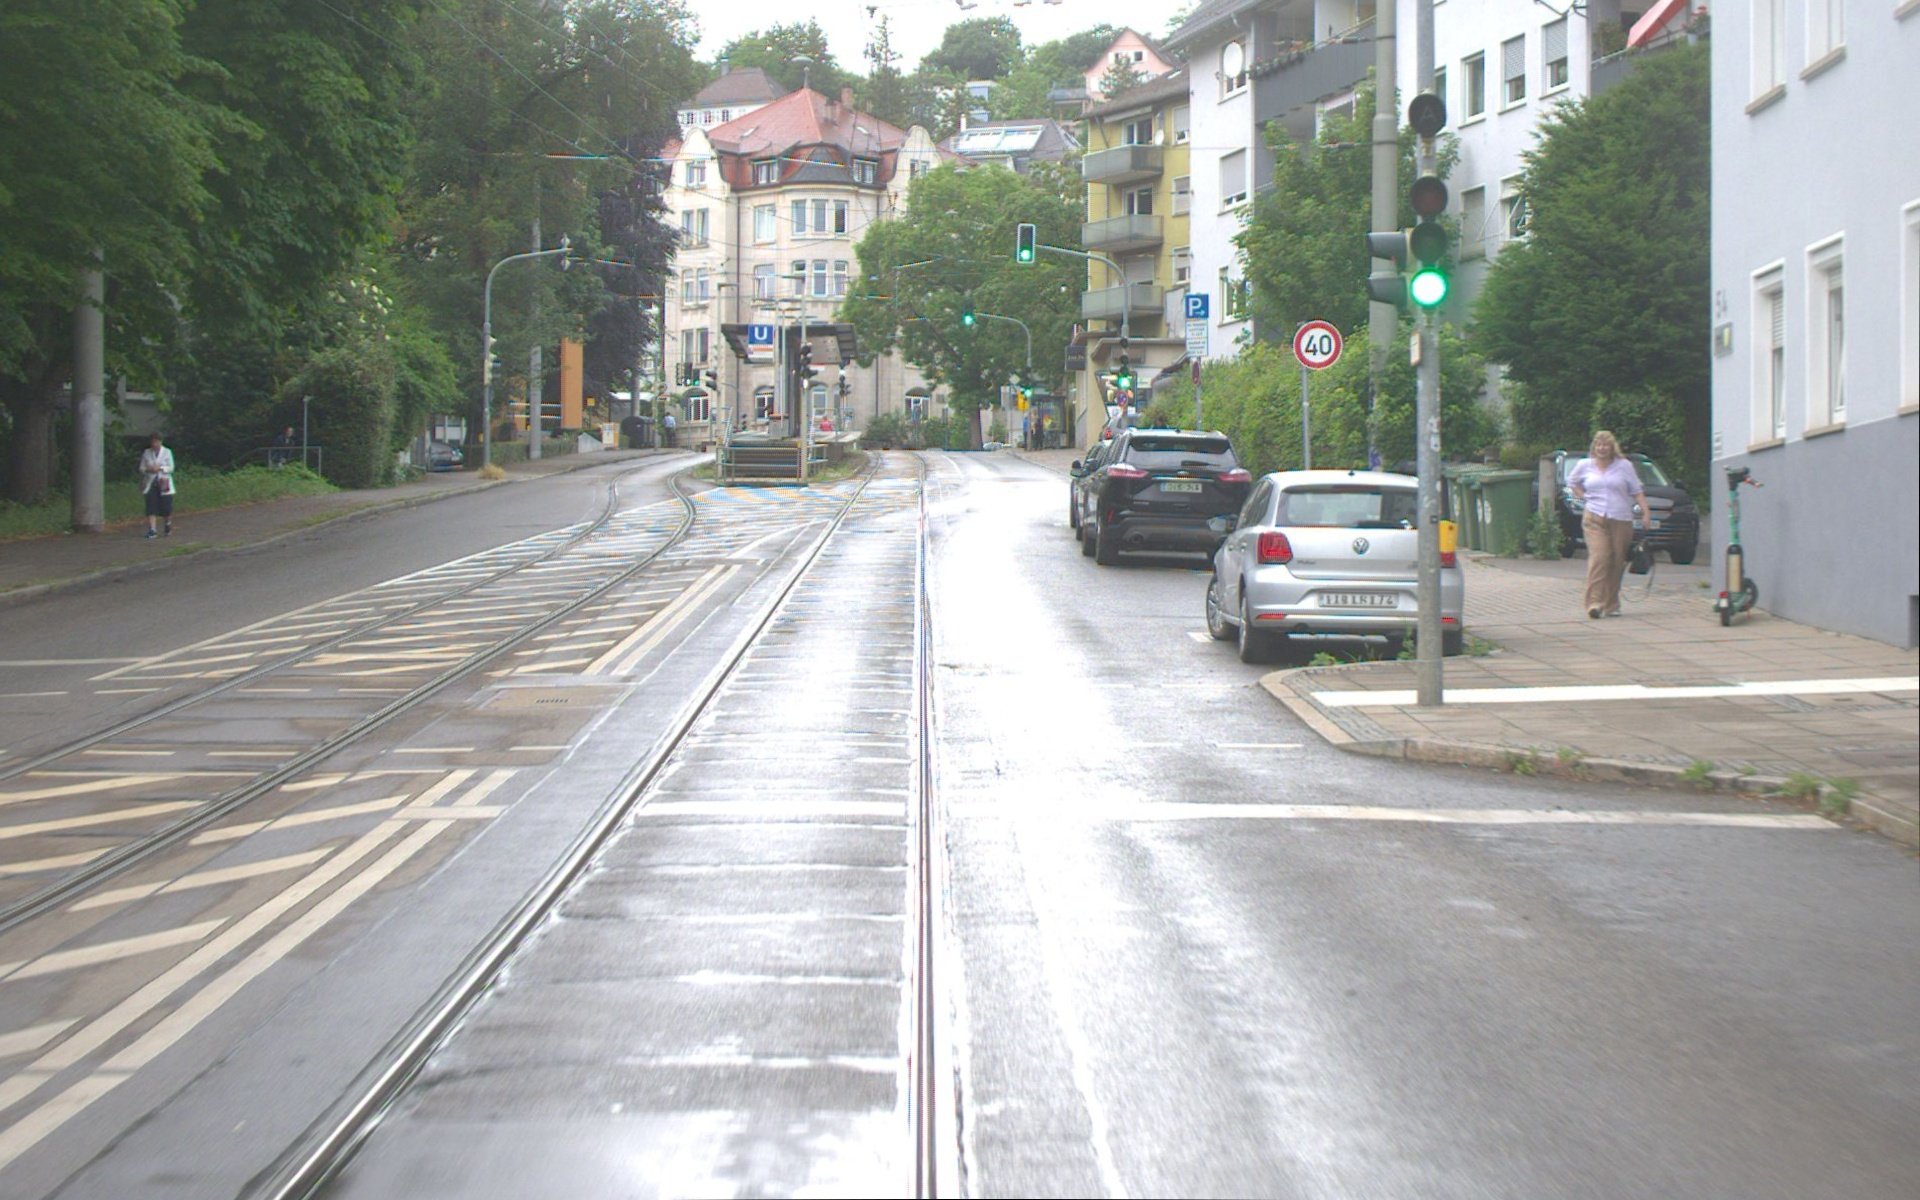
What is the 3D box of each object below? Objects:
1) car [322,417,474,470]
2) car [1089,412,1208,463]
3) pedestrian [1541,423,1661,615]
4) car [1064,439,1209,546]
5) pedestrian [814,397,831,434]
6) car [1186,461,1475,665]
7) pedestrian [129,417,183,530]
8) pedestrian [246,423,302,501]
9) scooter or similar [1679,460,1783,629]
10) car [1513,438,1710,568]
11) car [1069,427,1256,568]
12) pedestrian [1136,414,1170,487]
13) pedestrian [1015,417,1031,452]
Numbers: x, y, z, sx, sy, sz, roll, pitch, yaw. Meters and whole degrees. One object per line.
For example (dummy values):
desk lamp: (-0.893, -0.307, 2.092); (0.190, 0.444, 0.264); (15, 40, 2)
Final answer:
car: (-16.183, -4.499, 98.993); (3.991, 1.401, 1.680); (1, -1, 22)
car: (6.579, -5.678, 120.186); (3.987, 1.640, 1.808); (1, 1, -1)
pedestrian: (5.457, -0.700, 29.301); (0.882, 1.577, 0.801); (-1, 4, 1)
car: (2.494, -1.581, 49.486); (1.704, 1.423, 4.251); (2, 3, -2)
pedestrian: (-5.723, -7.666, 142.971); (0.657, 1.462, 0.772); (-1, -1, 2)
car: (2.859, -0.353, 27.347); (1.704, 1.428, 4.102); (2, 3, -2)
pedestrian: (-11.680, -1.841, 49.954); (0.583, 1.594, 0.869); (3, 2, -4)
pedestrian: (-15.138, -3.028, 75.838); (0.917, 1.672, 0.739); (1, -1, 26)
scooter or similar: (6.254, -0.467, 27.939); (0.575, 1.245, 1.610); (-2, 5, 5)
car: (8.607, -1.256, 45.747); (1.720, 1.509, 4.204); (1, -1, -1)
car: (2.505, -1.339, 43.579); (1.906, 1.636, 4.690); (2, 3, -2)
pedestrian: (4.351, -3.352, 77.327); (0.644, 1.623, 0.699); (1, 1, 12)
pedestrian: (2.674, -7.046, 146.542); (0.578, 1.462, 0.544); (1, -1, -8)
